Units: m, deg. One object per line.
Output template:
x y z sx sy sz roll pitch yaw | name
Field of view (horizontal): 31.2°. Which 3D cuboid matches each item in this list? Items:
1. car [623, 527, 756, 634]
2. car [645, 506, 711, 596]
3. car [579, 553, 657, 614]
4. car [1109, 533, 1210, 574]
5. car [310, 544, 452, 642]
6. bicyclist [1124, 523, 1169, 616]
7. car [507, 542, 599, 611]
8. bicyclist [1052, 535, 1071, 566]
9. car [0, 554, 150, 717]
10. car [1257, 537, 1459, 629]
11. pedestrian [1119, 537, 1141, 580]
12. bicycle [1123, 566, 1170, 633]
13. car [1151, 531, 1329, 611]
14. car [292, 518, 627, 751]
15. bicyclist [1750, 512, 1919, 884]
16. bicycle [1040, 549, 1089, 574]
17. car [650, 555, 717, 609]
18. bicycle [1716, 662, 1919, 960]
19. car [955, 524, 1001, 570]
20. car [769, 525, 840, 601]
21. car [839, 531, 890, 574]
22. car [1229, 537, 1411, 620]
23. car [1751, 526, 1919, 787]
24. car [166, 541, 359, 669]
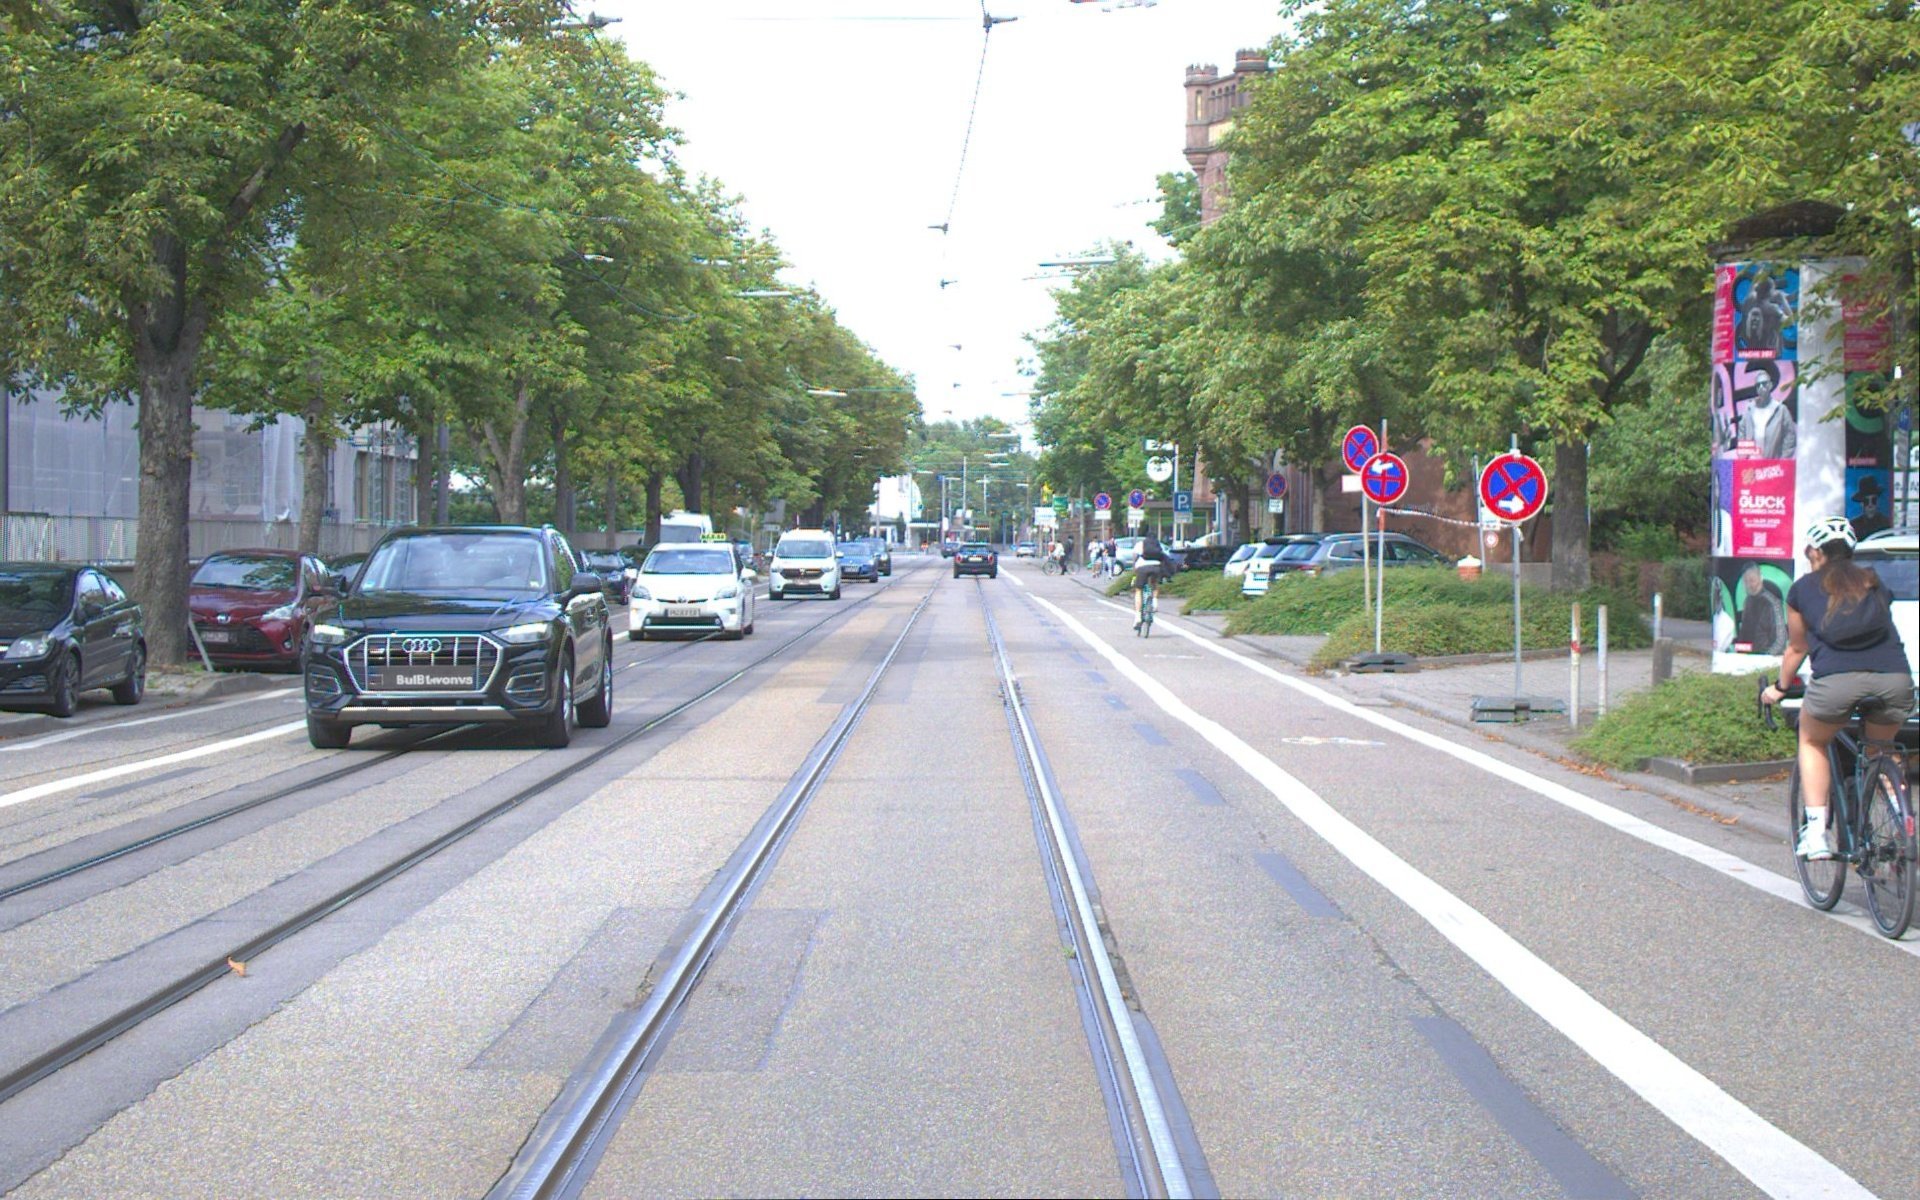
-4.185 -0.337 53.715 1.732 1.607 4.334 0 1 0 | car
-8.708 -1.531 106.475 1.720 2.695 5.471 1 1 -2 | car
-8.229 -0.422 82.945 1.590 1.398 3.963 1 1 -2 | car
8.383 -1.954 144.746 3.986 1.687 2.000 1 1 -5 | car
-8.738 -0.129 52.113 1.590 1.398 3.963 1 1 -2 | car
3.001 -0.496 55.358 0.659 1.491 0.929 1 1 1 | bicyclist
-8.577 -0.517 72.722 1.590 1.398 3.963 1 1 -2 | car
4.932 -2.418 166.912 0.847 1.499 0.768 1 1 9 | bicyclist
-8.806 0.285 32.256 1.590 1.398 3.963 1 1 -2 | car
7.150 -0.311 61.590 1.681 1.597 3.637 1 1 45 | car
7.142 -1.754 144.447 0.748 1.783 0.730 1 0 15 | pedestrian
2.991 -0.014 55.388 0.663 1.040 1.841 1 1 1 | bicycle
5.764 -0.585 70.534 1.681 1.597 3.637 1 1 45 | car
-3.714 0.198 26.236 1.847 1.607 4.334 1 1 1 | car
3.619 0.376 13.913 0.592 1.454 0.875 1 1 -2 | bicyclist
5.080 -1.868 166.908 2.275 1.185 0.768 1 1 8 | bicycle
-7.473 -0.511 93.139 1.590 1.398 3.963 1 1 -2 | car
3.611 0.814 13.908 0.592 1.040 1.978 1 1 -2 | bicycle
0.711 -2.175 139.926 1.795 1.817 4.679 1 1 -1 | car
-3.954 -0.971 88.000 1.732 1.878 4.379 1 1 -2 | car
-3.454 -1.741 125.287 1.732 1.491 4.378 0 1 0 | car
7.172 -0.430 68.387 1.681 1.597 3.637 1 1 45 | car
6.911 0.340 22.548 1.681 1.597 3.637 1 1 45 | car
-8.651 0.027 42.913 1.635 1.491 3.963 1 1 -1 | car
